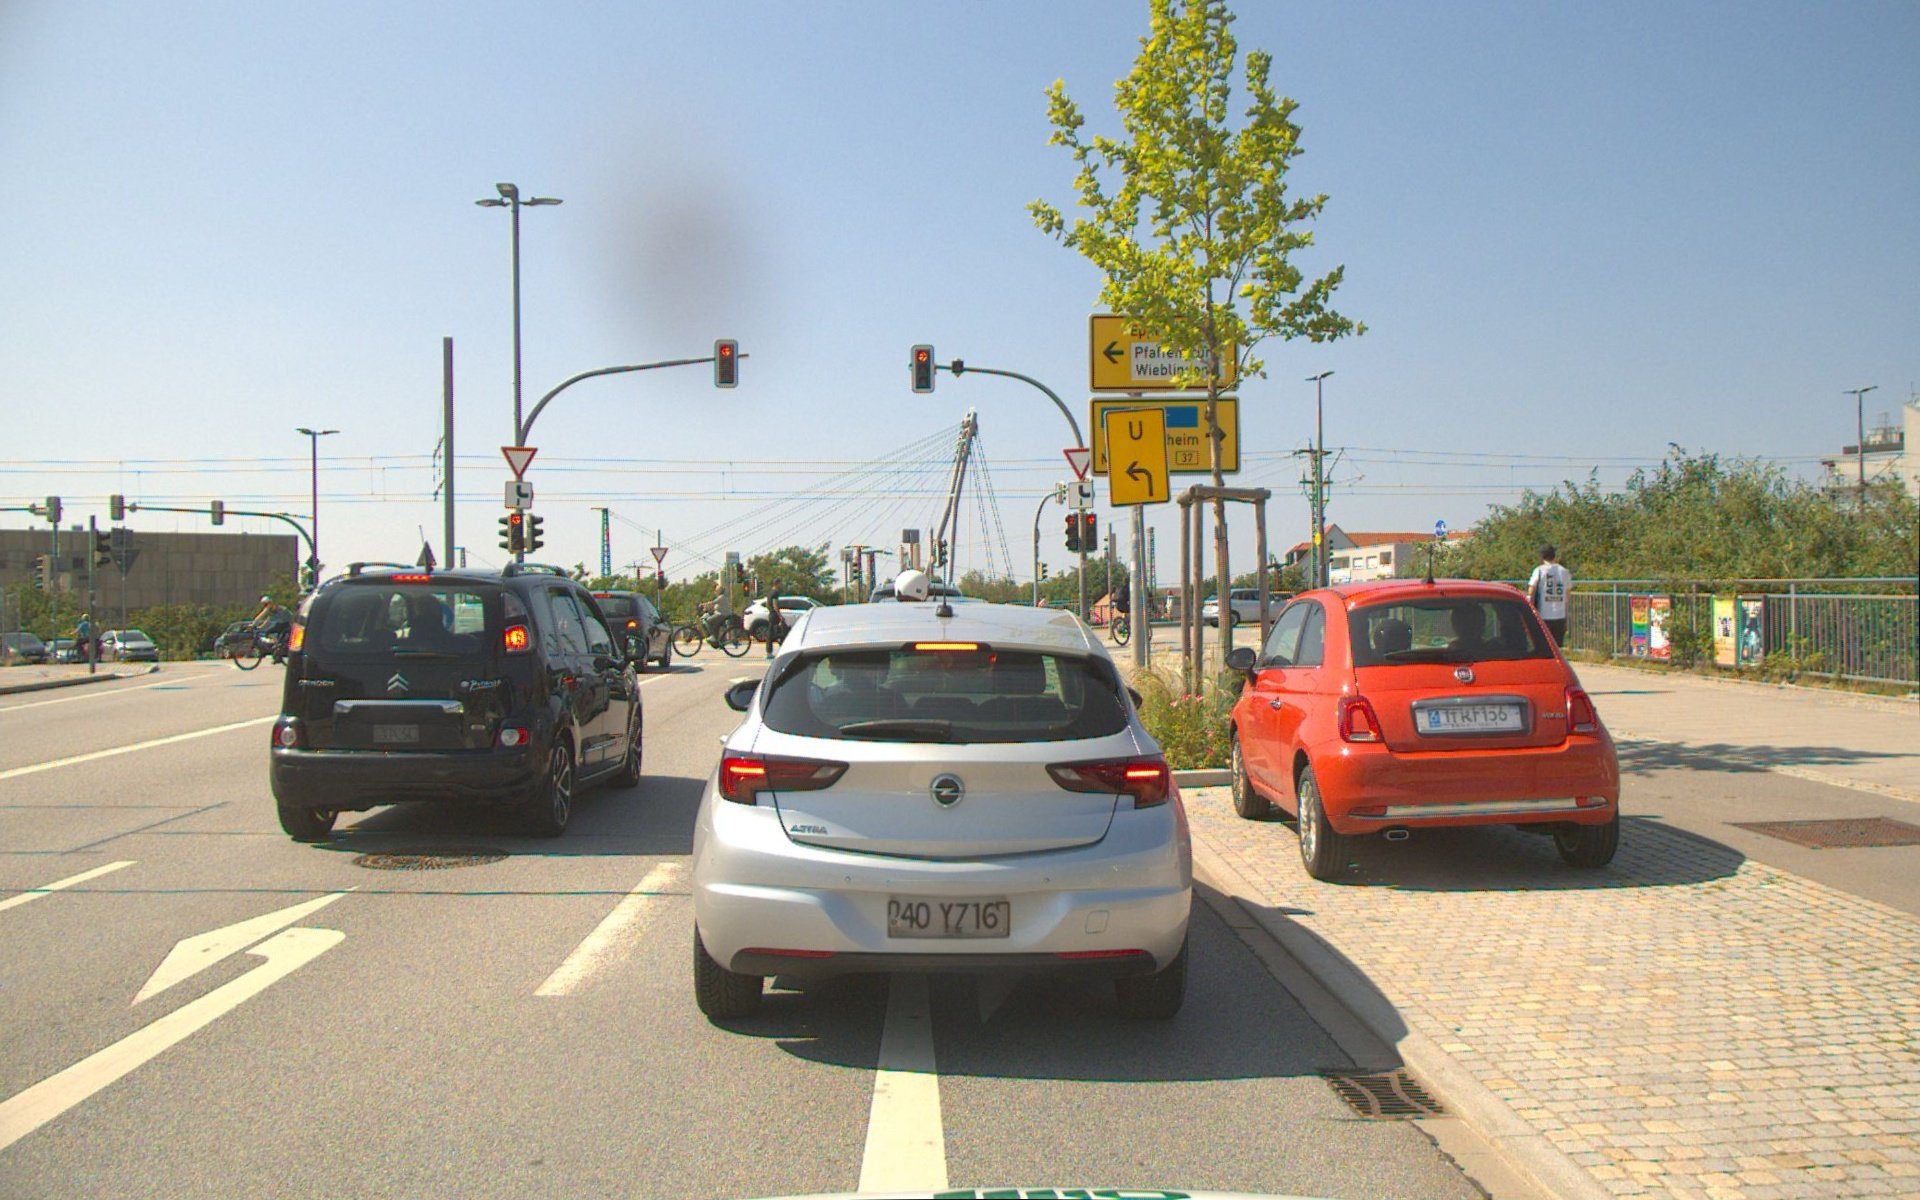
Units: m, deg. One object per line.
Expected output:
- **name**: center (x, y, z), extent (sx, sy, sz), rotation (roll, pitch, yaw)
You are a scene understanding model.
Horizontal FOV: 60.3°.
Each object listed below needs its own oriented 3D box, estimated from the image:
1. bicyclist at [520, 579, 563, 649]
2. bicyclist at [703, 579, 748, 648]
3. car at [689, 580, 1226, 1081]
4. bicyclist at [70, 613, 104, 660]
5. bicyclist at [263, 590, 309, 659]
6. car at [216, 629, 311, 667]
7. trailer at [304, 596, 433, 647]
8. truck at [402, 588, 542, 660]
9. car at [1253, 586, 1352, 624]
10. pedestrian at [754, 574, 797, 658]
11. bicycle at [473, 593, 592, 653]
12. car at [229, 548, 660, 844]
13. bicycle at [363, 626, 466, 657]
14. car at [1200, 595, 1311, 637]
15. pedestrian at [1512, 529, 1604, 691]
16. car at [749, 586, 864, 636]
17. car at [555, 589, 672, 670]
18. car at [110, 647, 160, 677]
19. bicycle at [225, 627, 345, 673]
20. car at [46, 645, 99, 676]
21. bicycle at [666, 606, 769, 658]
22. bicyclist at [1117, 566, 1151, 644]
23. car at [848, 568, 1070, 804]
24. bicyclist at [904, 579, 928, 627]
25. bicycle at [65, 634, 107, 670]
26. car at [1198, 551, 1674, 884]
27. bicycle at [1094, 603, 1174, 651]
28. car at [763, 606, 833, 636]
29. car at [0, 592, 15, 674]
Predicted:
- **bicyclist**: center (-9.662, 0.324, 38.203), extent (0.806, 1.587, 0.862), rotation (1, -1, -6)
- **bicyclist**: center (-5.521, 0.321, 39.002), extent (0.926, 1.596, 0.822), rotation (1, -1, -3)
- **car**: center (-0.054, 0.721, 7.277), extent (1.656, 1.546, 4.269), rotation (0, 0, -1)
- **bicyclist**: center (-29.331, 1.224, 55.588), extent (0.708, 1.530, 0.819), rotation (0, -1, 44)
- **bicyclist**: center (-15.369, 0.558, 37.736), extent (0.643, 1.528, 0.843), rotation (1, -1, 0)
- **car**: center (-28.168, 1.921, 66.868), extent (3.705, 1.414, 1.662), rotation (1, -1, 30)
- **trailer**: center (-22.431, 0.800, 62.759), extent (4.181, 1.807, 2.001), rotation (1, -1, 15)
- **truck**: center (-18.156, 0.862, 61.623), extent (4.594, 2.585, 2.001), rotation (1, -1, 15)
- **car**: center (16.225, 0.245, 78.341), extent (4.180, 1.703, 1.990), rotation (1, -1, -18)
- **pedestrian**: center (-4.233, 0.361, 37.910), extent (0.731, 1.896, 0.747), rotation (2, -1, -27)
- **bicycle**: center (-9.846, 0.518, 38.172), extent (2.476, 1.153, 0.727), rotation (-5, 2, -6)
- **car**: center (-3.244, 0.562, 11.249), extent (1.767, 1.650, 3.915), rotation (0, -1, -1)
- **bicycle**: center (-12.642, 0.954, 38.345), extent (2.200, 0.704, 0.516), rotation (0, -1, -1)
- **car**: center (11.527, 0.618, 64.578), extent (3.907, 1.578, 1.669), rotation (-1, -1, -15)
- **pedestrian**: center (7.058, 0.122, 19.555), extent (0.743, 1.862, 0.884), rotation (1, -1, -1)
- **car**: center (-5.794, 0.414, 62.750), extent (3.947, 1.846, 1.933), rotation (1, -1, 10)
- **car**: center (-6.391, 0.542, 30.786), extent (1.555, 1.419, 3.338), rotation (0, -1, -2)
- **car**: center (-37.695, 2.814, 75.515), extent (2.441, 1.262, 1.271), rotation (0, -1, 43)
- **bicycle**: center (-15.391, 1.129, 37.737), extent (2.453, 1.025, 0.605), rotation (0, -1, -1)
- **car**: center (-45.190, 3.057, 84.235), extent (1.574, 1.464, 3.103), rotation (2, -1, -44)
- **bicycle**: center (-5.698, 0.755, 38.952), extent (2.311, 1.147, 0.677), rotation (1, -1, -4)
- **bicyclist**: center (4.369, 0.131, 41.568), extent (0.587, 1.920, 0.631), rotation (2, -1, -28)
- **car**: center (-0.054, 0.660, 14.086), extent (1.602, 1.703, 3.743), rotation (1, -1, -2)
- **bicyclist**: center (-1.512, 0.115, 57.021), extent (0.756, 1.638, 0.949), rotation (1, -1, -1)
- **bicycle**: center (-29.382, 1.735, 55.573), extent (0.632, 1.153, 2.288), rotation (1, -1, -44)
- **car**: center (2.612, 0.568, 10.048), extent (1.636, 1.566, 3.915), rotation (-2, 0, -2)
- **bicycle**: center (4.378, 0.675, 41.565), extent (2.058, 1.198, 0.550), rotation (1, -1, -30)
- **car**: center (-7.397, 0.945, 75.837), extent (3.148, 1.327, 1.522), rotation (0, 0, -4)
- **car**: center (-25.584, 0.821, 42.990), extent (1.652, 2.049, 3.961), rotation (2, -1, -29)
